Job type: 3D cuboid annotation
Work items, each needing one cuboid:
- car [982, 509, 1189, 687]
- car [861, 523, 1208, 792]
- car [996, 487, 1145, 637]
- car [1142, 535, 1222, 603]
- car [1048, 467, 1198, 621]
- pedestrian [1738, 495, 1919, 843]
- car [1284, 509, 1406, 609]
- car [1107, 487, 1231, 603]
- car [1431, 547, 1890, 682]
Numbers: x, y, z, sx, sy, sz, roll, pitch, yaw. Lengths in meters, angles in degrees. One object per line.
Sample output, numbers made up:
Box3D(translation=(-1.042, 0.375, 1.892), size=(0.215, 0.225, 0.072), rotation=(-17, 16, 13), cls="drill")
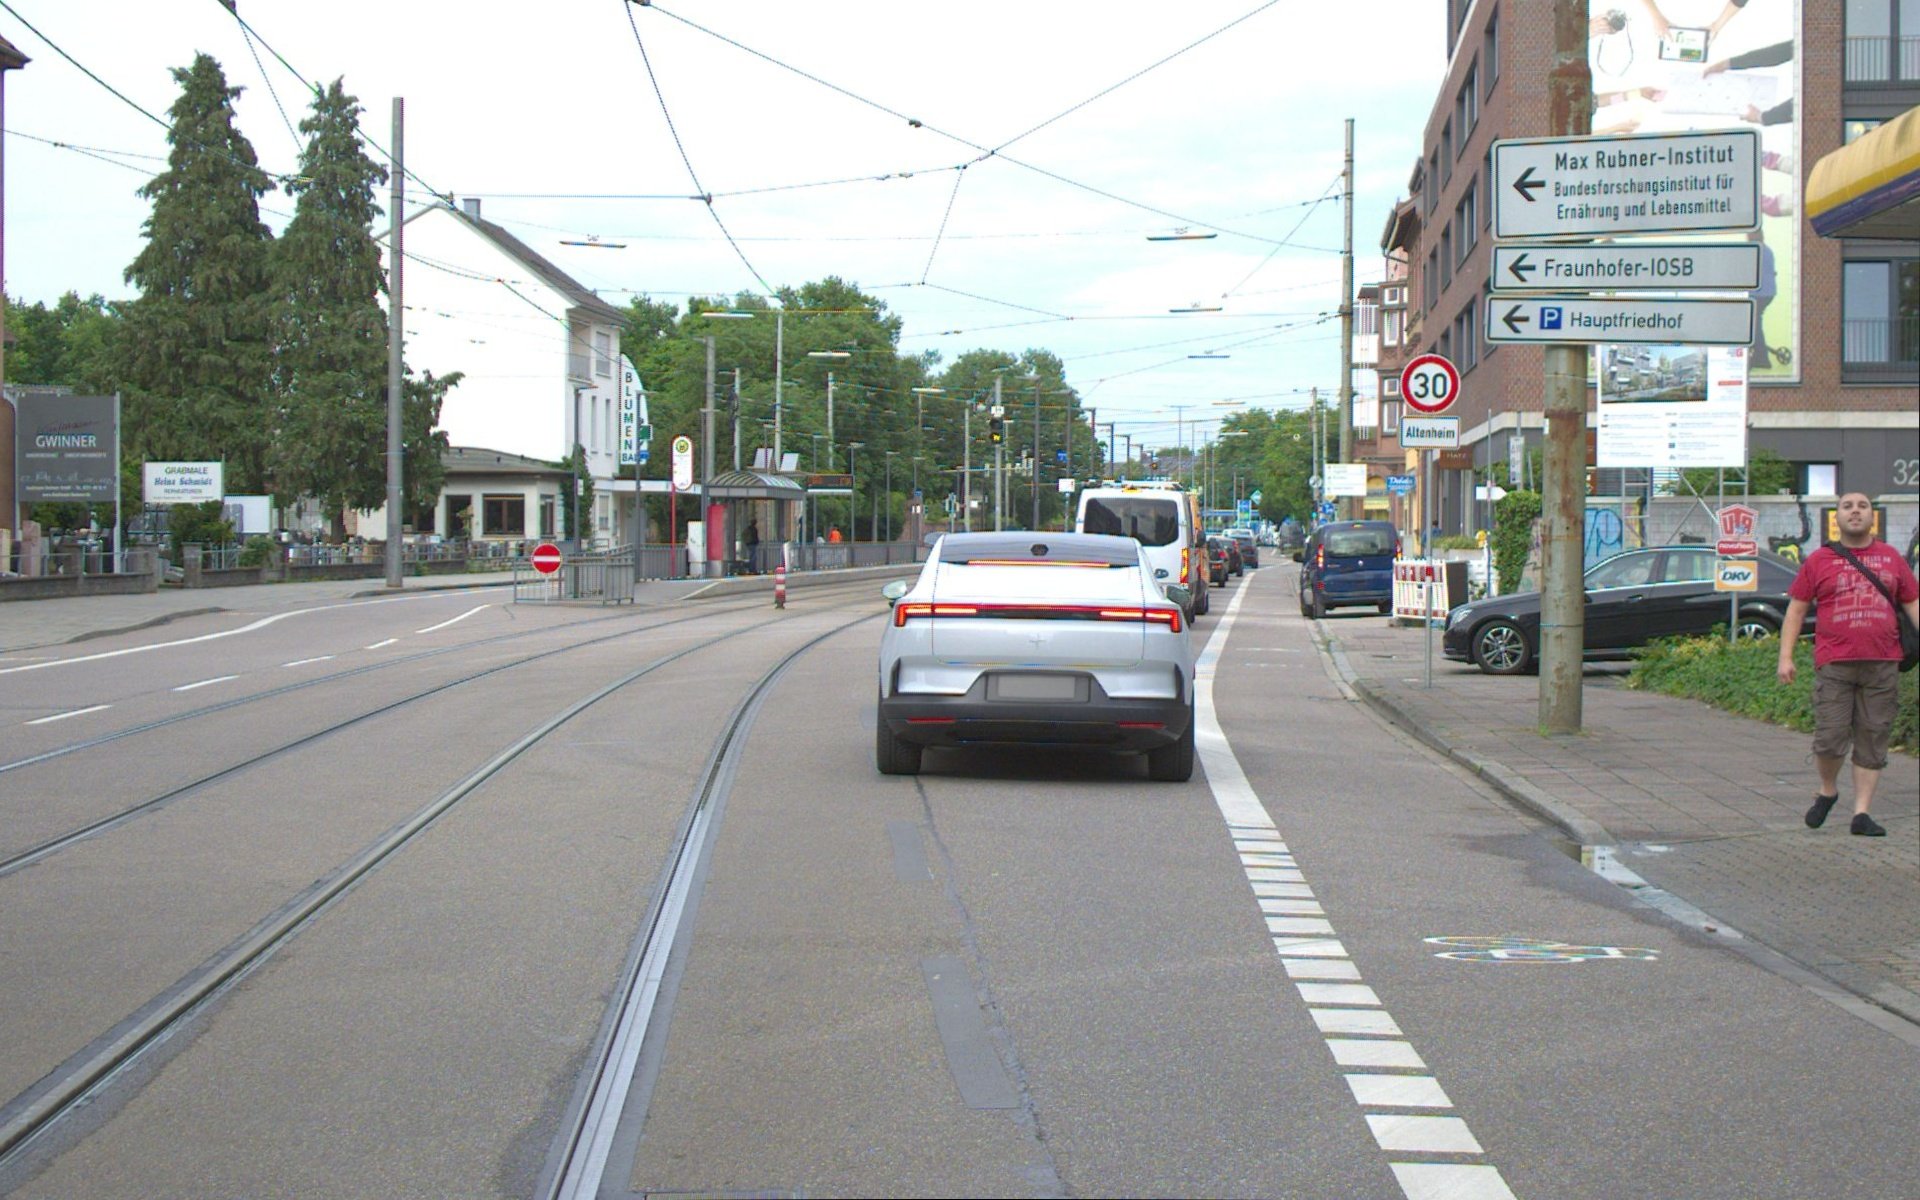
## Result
Box3D(translation=(1.284, -0.043, 36.787), size=(1.968, 1.750, 3.838), rotation=(2, 1, -1), cls="car")
Box3D(translation=(0.382, 0.296, 22.527), size=(1.981, 1.544, 4.184), rotation=(2, 1, -2), cls="car")
Box3D(translation=(1.563, -0.548, 49.441), size=(1.993, 2.007, 4.000), rotation=(2, 1, 1), cls="car")
Box3D(translation=(6.886, -0.972, 107.008), size=(1.993, 2.007, 4.000), rotation=(2, 1, -2), cls="car")
Box3D(translation=(2.704, -0.934, 58.143), size=(2.216, 2.415, 4.951), rotation=(2, 1, 0), cls="car")
Box3D(translation=(4.619, 0.340, 17.747), size=(0.972, 1.732, 0.861), rotation=(-2, 0, 1), cls="pedestrian")
Box3D(translation=(7.380, -0.794, 66.254), size=(1.874, 1.817, 4.096), rotation=(2, 1, 1), cls="car")
Box3D(translation=(4.062, -1.067, 67.516), size=(2.139, 2.138, 4.743), rotation=(2, 1, 1), cls="car")
Box3D(translation=(7.963, 0.128, 39.045), size=(4.875, 1.422, 1.951), rotation=(1, 1, 20), cls="car")
